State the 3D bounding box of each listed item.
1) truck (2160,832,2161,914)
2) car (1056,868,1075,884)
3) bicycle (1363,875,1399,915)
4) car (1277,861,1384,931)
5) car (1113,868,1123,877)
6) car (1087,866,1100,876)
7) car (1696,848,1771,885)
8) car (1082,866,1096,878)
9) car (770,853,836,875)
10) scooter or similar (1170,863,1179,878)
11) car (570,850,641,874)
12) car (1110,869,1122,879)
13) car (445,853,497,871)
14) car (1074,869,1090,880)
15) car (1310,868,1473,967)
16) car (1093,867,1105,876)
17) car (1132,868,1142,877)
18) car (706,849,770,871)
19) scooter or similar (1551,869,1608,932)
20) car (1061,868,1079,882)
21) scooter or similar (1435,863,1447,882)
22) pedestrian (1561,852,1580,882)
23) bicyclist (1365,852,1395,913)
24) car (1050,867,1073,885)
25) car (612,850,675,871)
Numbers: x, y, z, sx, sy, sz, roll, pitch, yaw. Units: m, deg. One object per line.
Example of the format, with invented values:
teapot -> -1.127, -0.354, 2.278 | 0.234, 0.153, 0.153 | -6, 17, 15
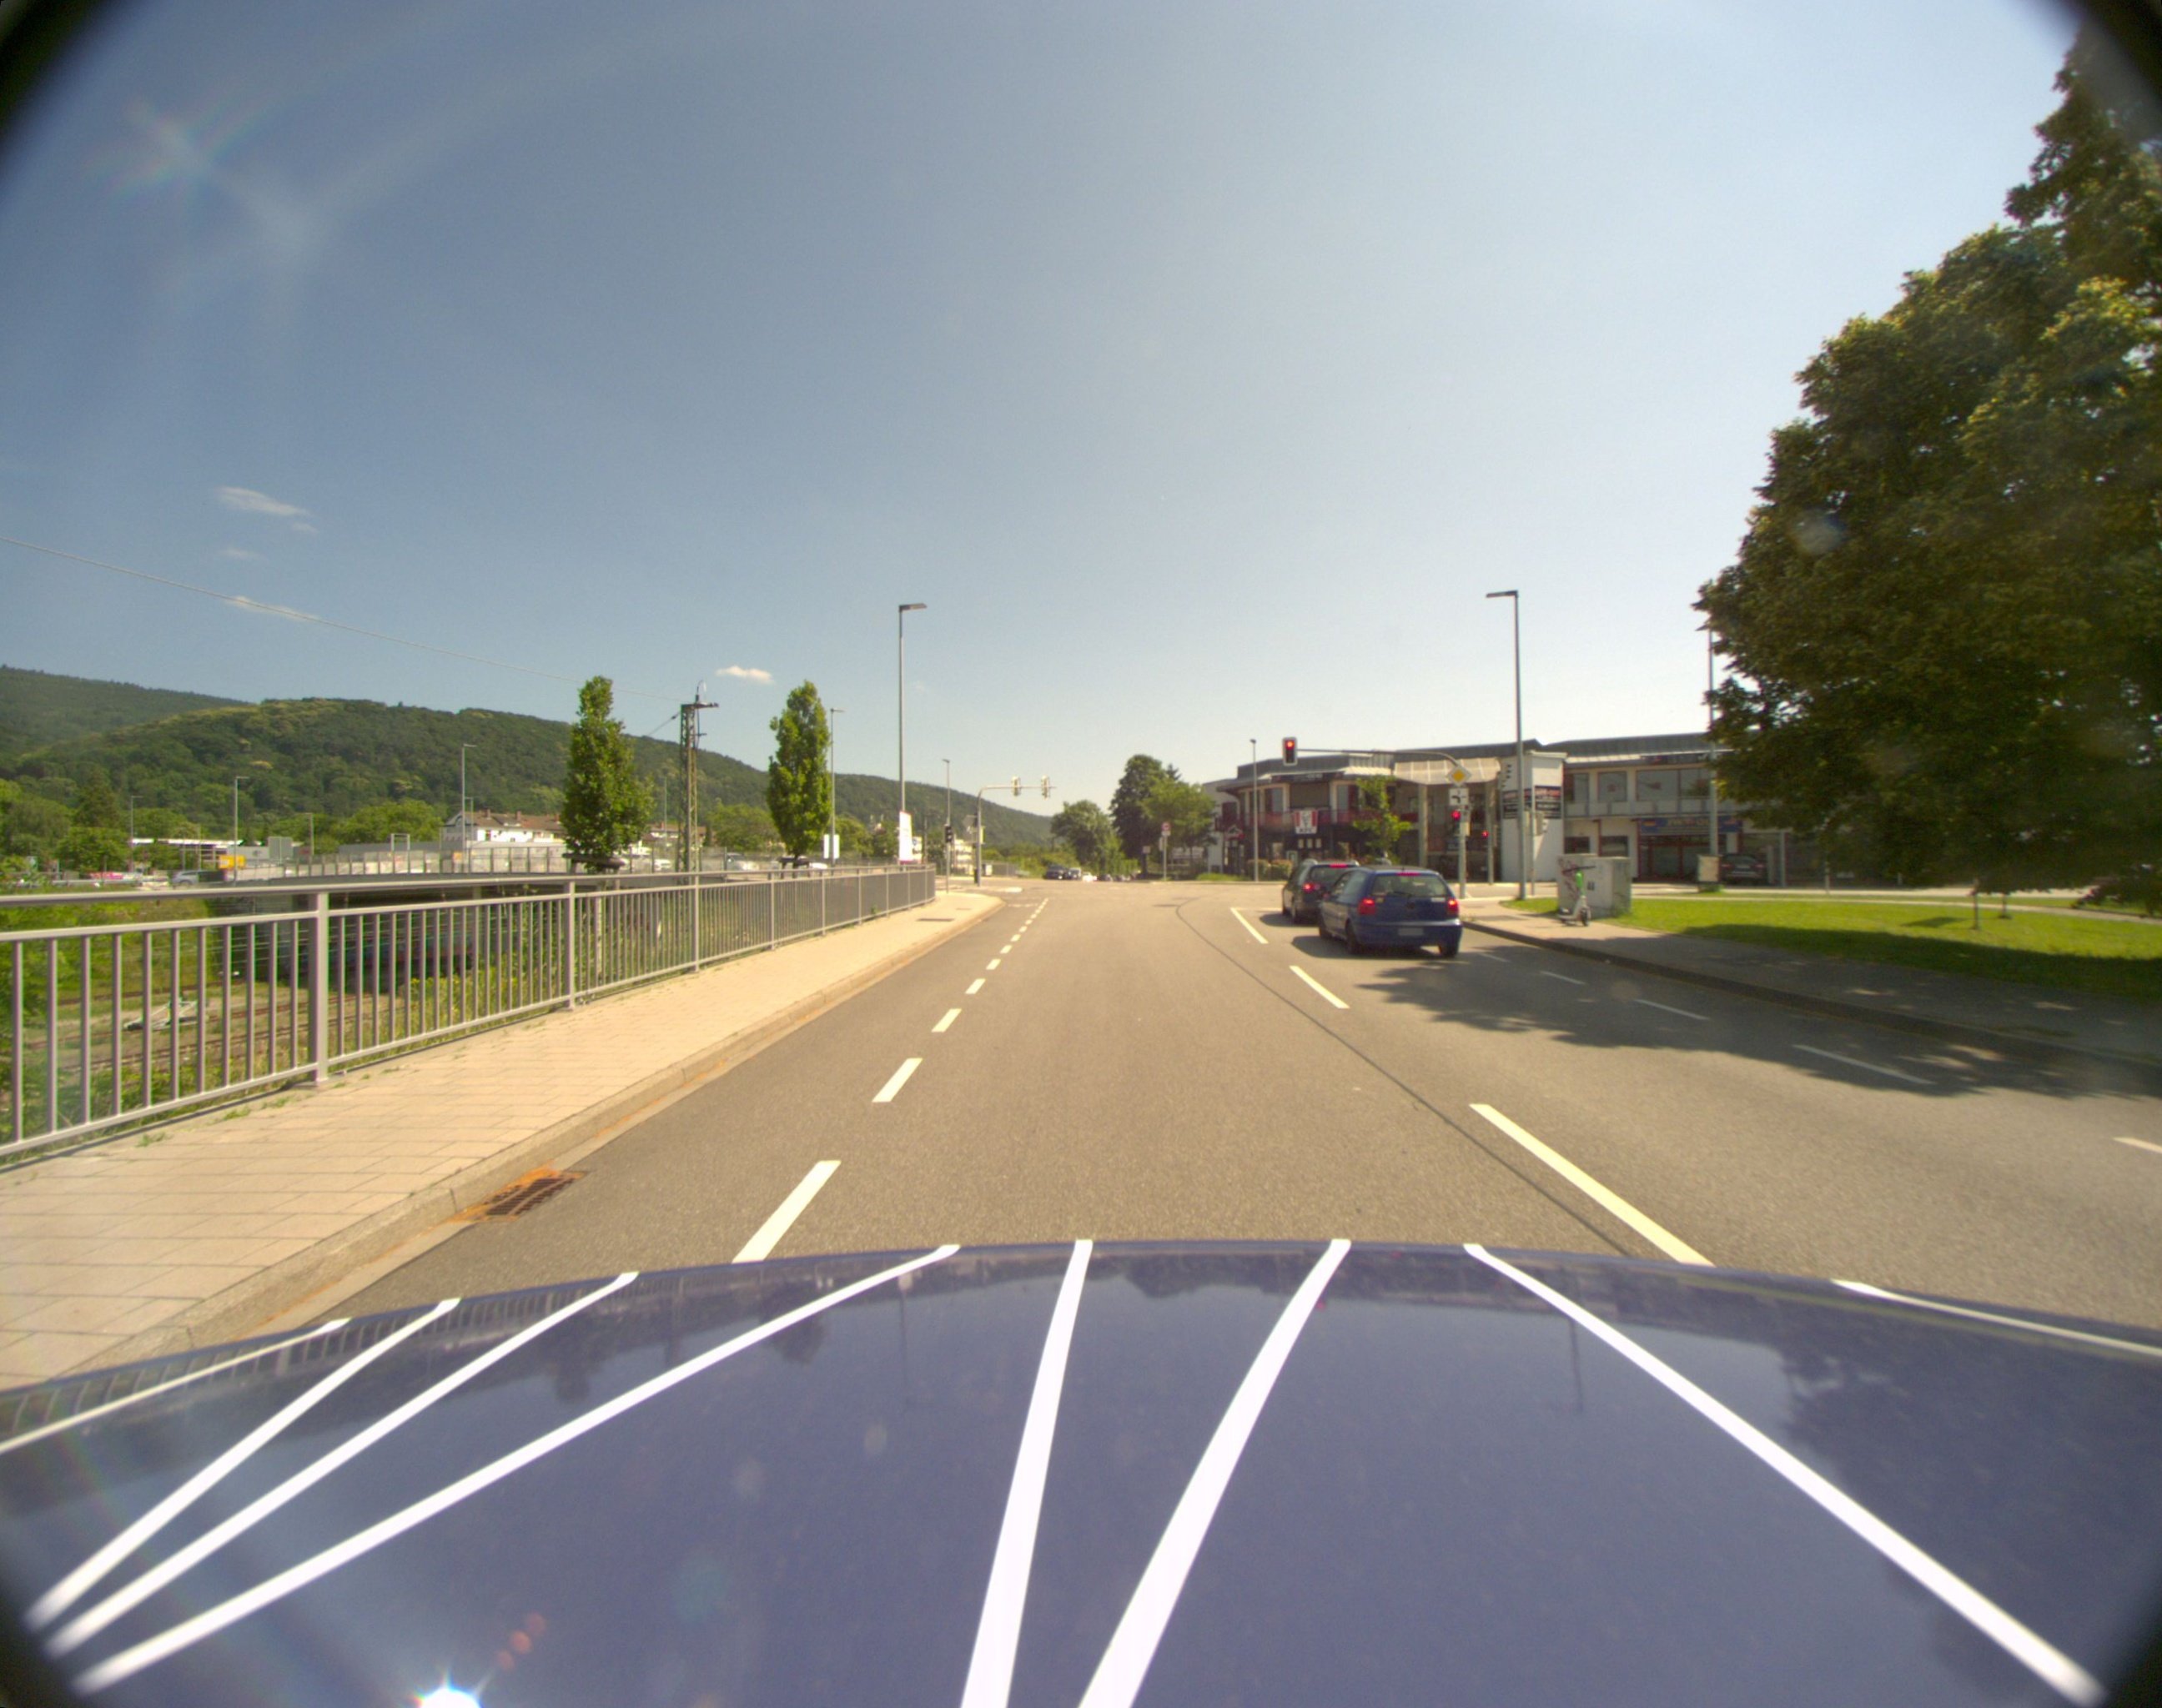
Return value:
truck -> 47.849, 0.703, 27.873 | 9.146, 3.366, 3.320 | -1, -1, 23
car -> -1.594, 2.239, 78.748 | 1.671, 1.523, 4.001 | 0, 0, 3
bicycle -> 8.901, 1.195, 22.631 | 0.698, 1.098, 1.757 | 1, 0, 12
car -> 5.970, 0.919, 18.717 | 1.783, 1.487, 4.726 | 0, 0, 9
car -> 6.661, 3.375, 135.971 | 1.671, 1.523, 4.001 | 0, 0, 3
car -> 1.772, 2.453, 109.142 | 1.671, 1.427, 4.001 | 0, 0, 3
car -> 35.253, 0.658, 41.205 | 1.804, 1.844, 4.667 | 0, 0, 23
car -> 1.064, 2.436, 101.757 | 1.671, 1.523, 4.001 | 0, 0, 3
car -> -19.497, 0.689, 53.265 | 4.399, 1.461, 1.740 | 0, 0, 24
scooter or similar -> 7.132, 1.212, 57.804 | 0.426, 1.117, 1.453 | 0, 0, 18
car -> -34.991, 0.603, 55.942 | 4.622, 1.709, 2.003 | 0, 0, 21
car -> 5.944, 3.365, 130.043 | 1.671, 1.523, 4.002 | -4, -1, 7
car -> -55.941, 0.738, 69.679 | 4.432, 1.617, 1.739 | -1, 0, 20
car -> 0.147, 2.510, 94.378 | 1.671, 1.309, 4.001 | 0, 0, 3
car -> 5.077, 0.947, 12.982 | 1.659, 1.372, 4.003 | 0, 0, 8
car -> 2.868, 2.730, 119.138 | 1.671, 1.427, 4.001 | 0, 0, 3
car -> 11.180, 3.736, 152.454 | 1.671, 1.718, 4.002 | -4, -1, 7
car -> -25.370, 0.452, 56.175 | 4.431, 1.616, 1.740 | 0, -1, 24
scooter or similar -> 9.919, 0.899, 15.168 | 0.472, 1.177, 1.367 | 0, 0, 11
car -> -1.205, 2.303, 83.898 | 1.671, 1.523, 4.001 | 0, 0, 3
scooter or similar -> 22.163, 1.116, 46.716 | 0.499, 1.117, 1.507 | 0, 0, 32
pedestrian -> 26.816, 0.714, 41.592 | 0.731, 1.636, 0.844 | 0, 0, 44
bicyclist -> 8.916, 0.830, 22.667 | 0.711, 1.778, 0.810 | 0, 0, 13
car -> -1.891, 2.102, 73.901 | 1.829, 1.617, 4.239 | 0, 0, 5
car -> -34.141, 0.493, 59.267 | 4.433, 1.616, 1.739 | 0, -1, 18
